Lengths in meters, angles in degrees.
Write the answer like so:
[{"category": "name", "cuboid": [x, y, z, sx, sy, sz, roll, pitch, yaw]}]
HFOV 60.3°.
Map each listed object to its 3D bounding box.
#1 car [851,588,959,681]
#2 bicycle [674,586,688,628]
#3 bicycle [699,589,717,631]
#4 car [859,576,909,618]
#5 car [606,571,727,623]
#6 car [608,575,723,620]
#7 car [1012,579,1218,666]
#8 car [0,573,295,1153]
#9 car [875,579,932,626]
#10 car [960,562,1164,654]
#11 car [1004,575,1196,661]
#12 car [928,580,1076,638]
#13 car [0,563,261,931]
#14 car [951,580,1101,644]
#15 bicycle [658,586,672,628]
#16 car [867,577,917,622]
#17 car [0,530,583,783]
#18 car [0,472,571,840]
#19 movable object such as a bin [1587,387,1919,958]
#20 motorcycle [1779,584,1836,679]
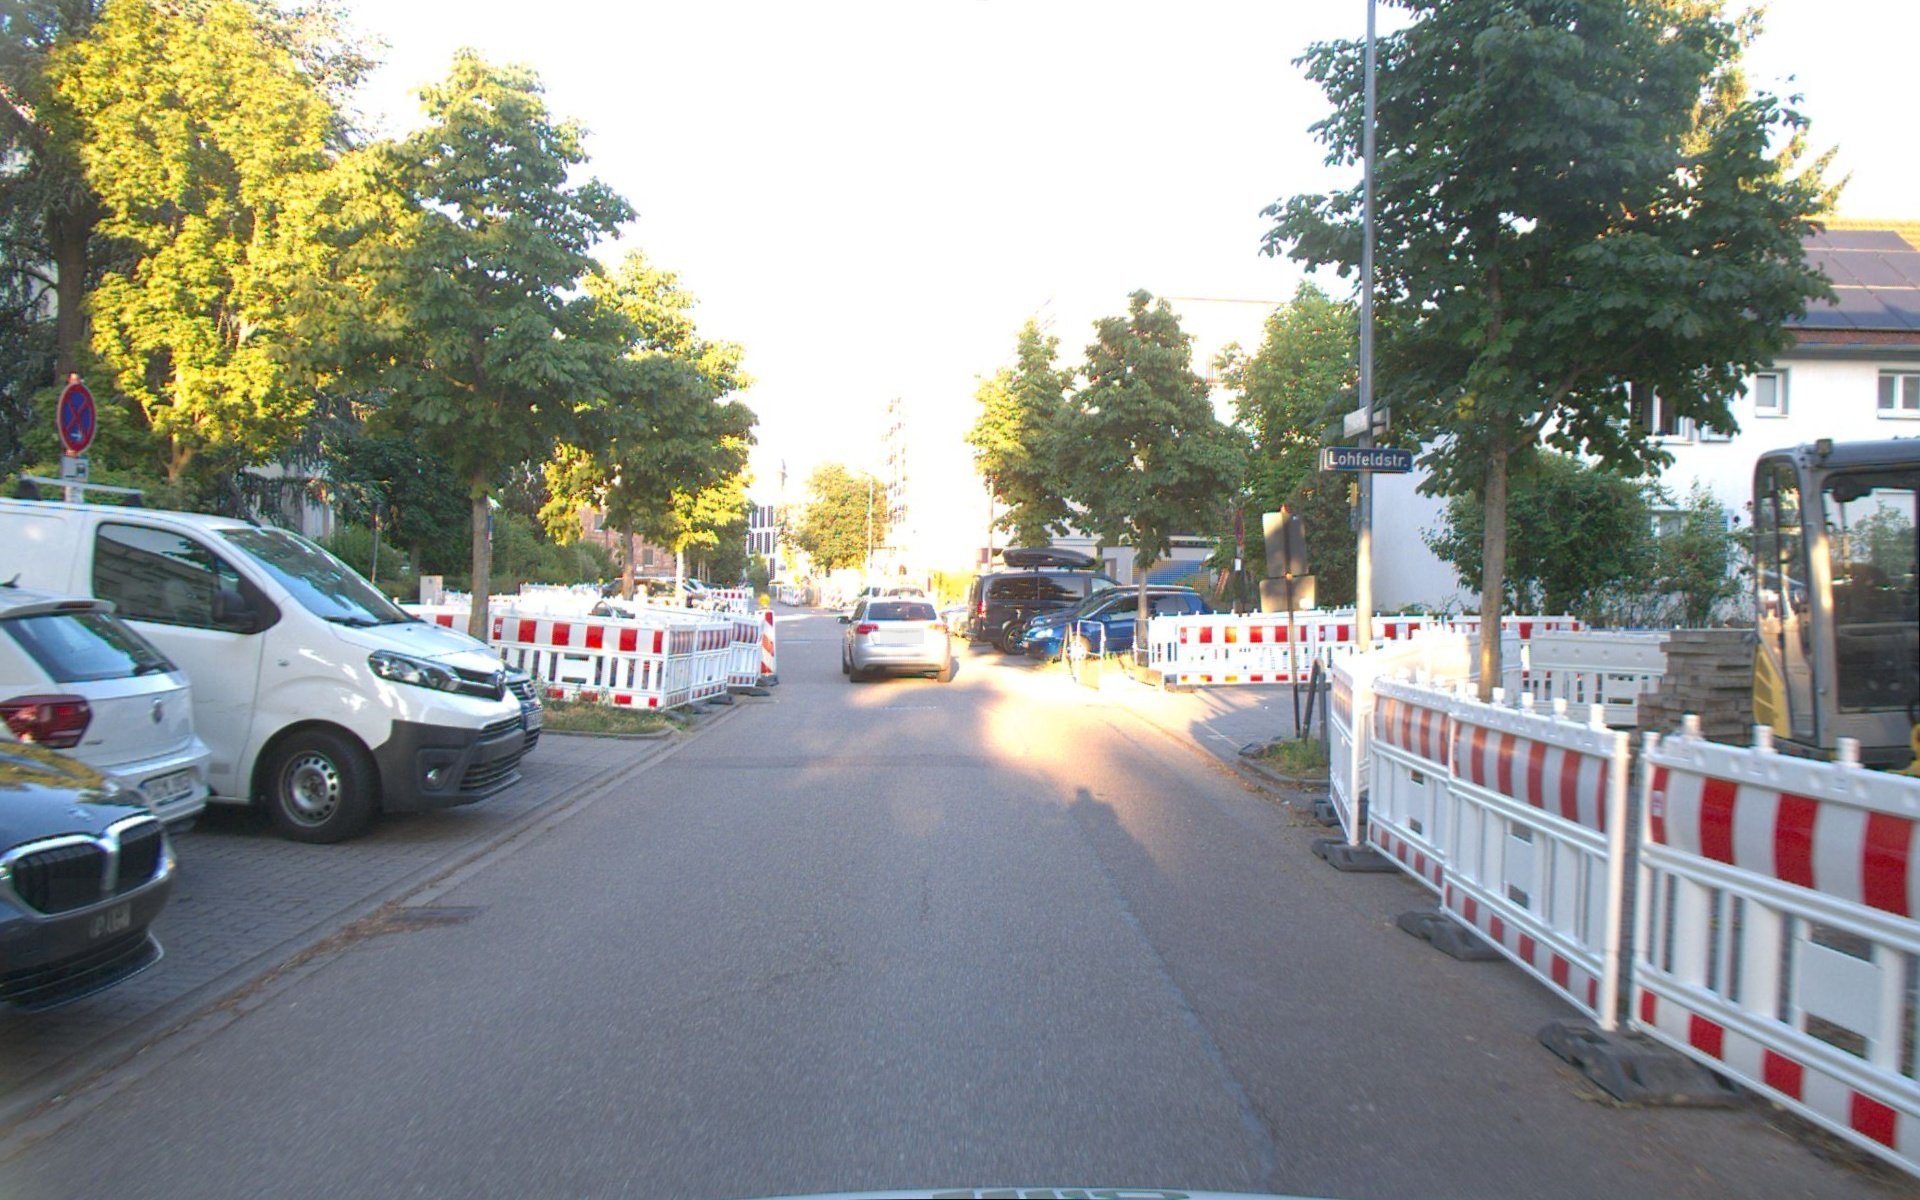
[{"category": "car", "cuboid": [-0.993, 0.546, 29.032, 1.771, 1.514, 3.998, 0, 0, -3]}, {"category": "bicycle", "cuboid": [-8.648, 0.195, 51.260, 0.398, 1.248, 1.982, 1, 1, -10]}, {"category": "bicycle", "cuboid": [-7.822, 0.292, 51.360, 0.399, 1.248, 1.981, 1, 1, -12]}, {"category": "car", "cuboid": [-3.109, -0.147, 67.333, 1.774, 1.641, 3.576, 1, 1, -6]}, {"category": "car", "cuboid": [-9.888, -0.109, 55.854, 3.914, 1.653, 1.996, 1, 1, -10]}, {"category": "car", "cuboid": [-10.334, -0.086, 58.251, 3.914, 1.506, 1.996, 0, 2, -10]}, {"category": "car", "cuboid": [3.200, 0.463, 34.447, 3.917, 1.680, 1.759, 1, 1, -13]}, {"category": "car", "cuboid": [-4.844, 0.568, 5.172, 4.676, 1.496, 1.880, 3, 0, -2]}, {"category": "car", "cuboid": [-1.980, 0.070, 56.957, 1.697, 1.509, 3.553, 1, 1, -6]}, {"category": "car", "cuboid": [2.390, 0.176, 39.500, 4.474, 2.058, 2.096, 1, 1, -10]}, {"category": "car", "cuboid": [3.107, 0.388, 37.105, 3.914, 1.799, 1.996, 1, 1, -10]}, {"category": "car", "cuboid": [1.231, 0.254, 49.251, 4.077, 1.599, 1.792, 1, 1, -13]}, {"category": "car", "cuboid": [-5.336, 0.567, 7.733, 3.344, 1.509, 1.758, 1, 1, 0]}, {"category": "car", "cuboid": [1.852, 0.321, 46.859, 3.871, 1.677, 1.970, 1, 1, -13]}, {"category": "bicycle", "cuboid": [-9.145, 0.207, 51.324, 0.398, 1.248, 1.982, 1, 1, -10]}, {"category": "car", "cuboid": [-2.583, -0.033, 62.486, 1.632, 1.600, 3.436, 1, 1, -6]}, {"category": "car", "cuboid": [-5.141, 0.414, 13.111, 3.908, 1.783, 1.798, 1, 1, -4]}, {"category": "car", "cuboid": [-5.042, 0.291, 10.445, 4.676, 2.049, 1.999, 1, 1, -3]}, {"category": "movable object such as a bin", "cuboid": [5.368, 0.332, 7.510, 2.578, 2.444, 5.190, 1, 1, -7]}, {"category": "motorcycle", "cuboid": [10.679, 0.382, 20.817, 0.568, 1.125, 1.844, 2, 1, 29]}]
